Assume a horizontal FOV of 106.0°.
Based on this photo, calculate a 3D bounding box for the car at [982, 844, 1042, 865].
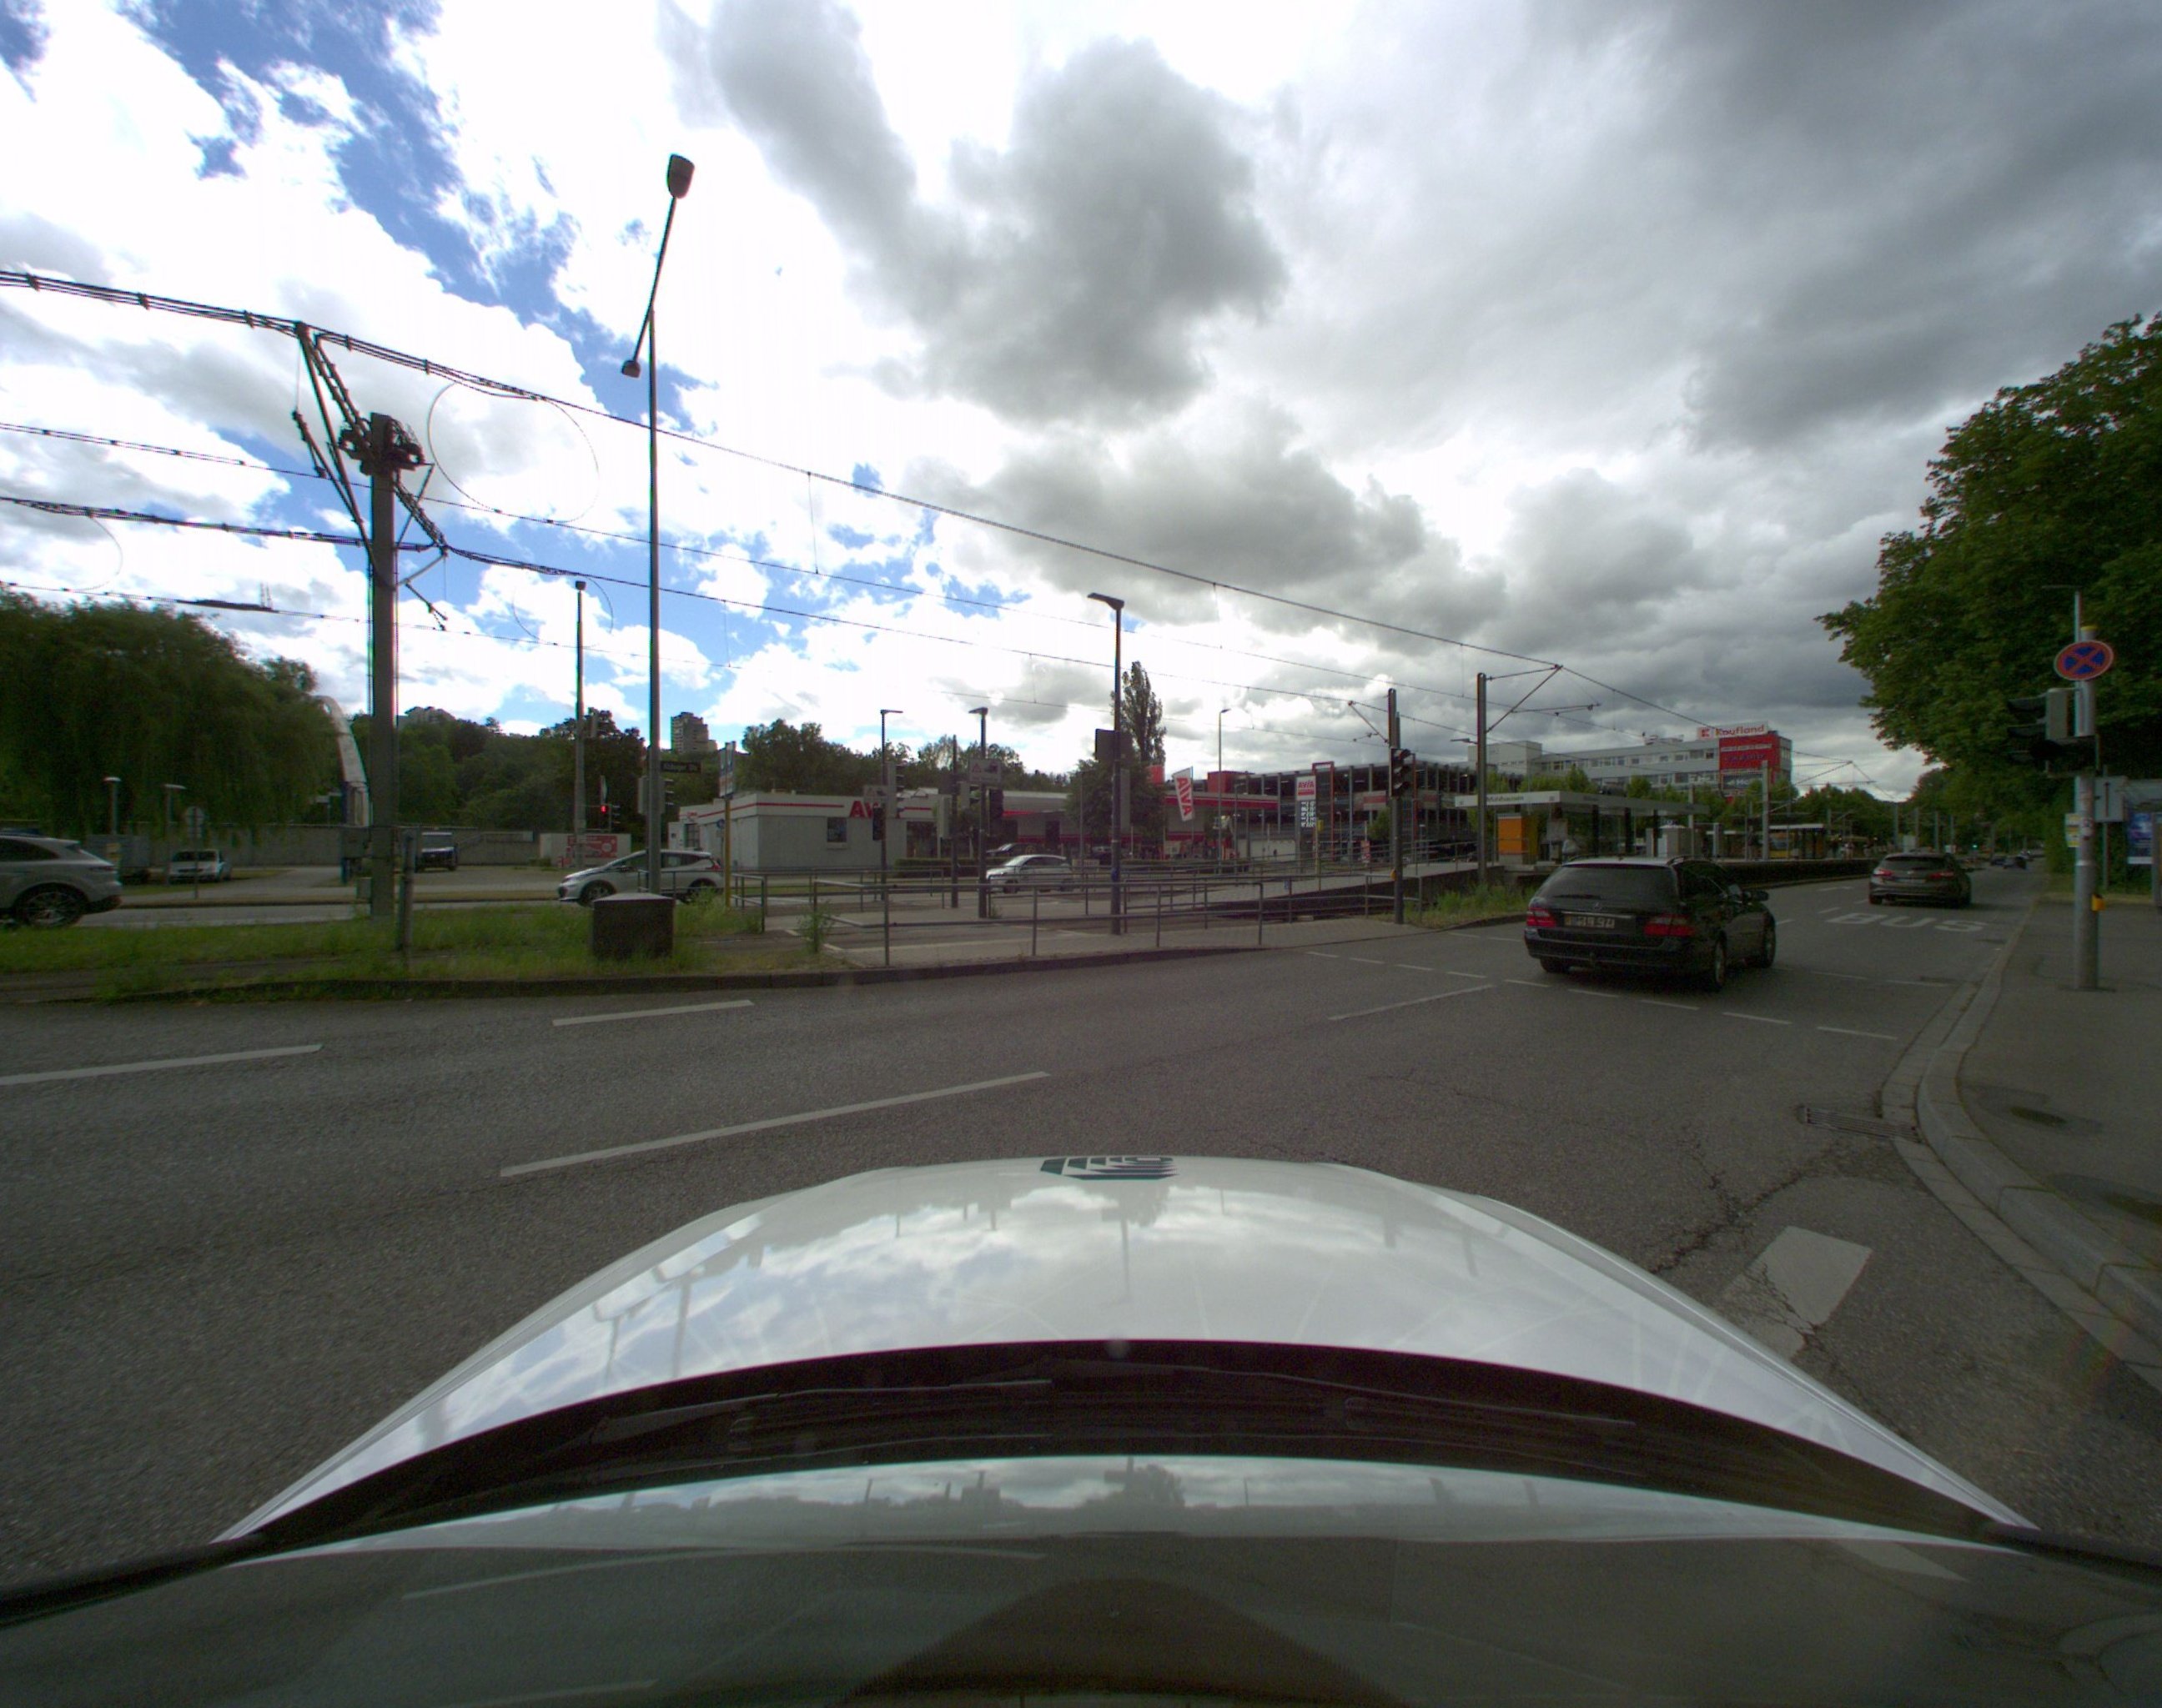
[{"bbox_3d":[-4.565,0.030,53.736,3.652,1.350,1.600,0,0,-37],"label":"car"}]

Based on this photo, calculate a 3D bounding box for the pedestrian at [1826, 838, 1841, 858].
[{"bbox_3d":[61.890,-0.484,66.936,0.794,1.678,0.765,1,-2,-39],"label":"pedestrian"}]

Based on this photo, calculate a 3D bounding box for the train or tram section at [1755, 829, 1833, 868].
[{"bbox_3d":[76.821,-0.657,87.469,18.719,3.882,2.734,-1,0,-38],"label":"train or tram section"}]

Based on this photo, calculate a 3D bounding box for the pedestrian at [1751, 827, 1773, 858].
[{"bbox_3d":[38.560,-0.648,46.128,0.941,1.744,0.742,1,-2,-39],"label":"pedestrian"}]

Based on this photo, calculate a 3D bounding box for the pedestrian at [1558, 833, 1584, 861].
[{"bbox_3d":[21.662,-0.299,36.013,0.731,1.189,0.763,1,0,-35],"label":"pedestrian"}]

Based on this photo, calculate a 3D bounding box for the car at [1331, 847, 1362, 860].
[{"bbox_3d":[30.572,-0.060,93.884,3.577,1.415,1.702,1,-2,-38],"label":"car"}]

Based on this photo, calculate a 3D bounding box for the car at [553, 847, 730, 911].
[{"bbox_3d":[-12.281,0.650,22.871,4.144,1.641,1.730,0,0,-39],"label":"car"}]

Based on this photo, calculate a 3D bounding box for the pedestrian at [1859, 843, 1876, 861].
[{"bbox_3d":[71.362,-0.175,73.893,0.869,1.678,0.746,0,-1,5],"label":"pedestrian"}]

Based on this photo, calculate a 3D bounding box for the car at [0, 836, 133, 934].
[{"bbox_3d":[-19.242,0.512,13.115,1.656,1.642,4.882,0,0,24],"label":"car"}]

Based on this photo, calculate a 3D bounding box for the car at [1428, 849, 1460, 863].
[{"bbox_3d":[43.094,0.255,96.580,4.019,1.539,1.762,0,-1,-39],"label":"car"}]

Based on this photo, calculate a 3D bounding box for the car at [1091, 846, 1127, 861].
[{"bbox_3d":[3.316,-0.022,97.065,4.079,1.752,1.893,1,-2,-40],"label":"car"}]

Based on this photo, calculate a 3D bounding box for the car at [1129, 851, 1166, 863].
[{"bbox_3d":[7.677,0.346,93.649,4.079,1.365,1.893,1,-2,-40],"label":"car"}]

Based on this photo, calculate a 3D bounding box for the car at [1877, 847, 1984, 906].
[{"bbox_3d":[24.701,0.592,23.639,4.438,1.530,1.810,0,1,-39],"label":"car"}]

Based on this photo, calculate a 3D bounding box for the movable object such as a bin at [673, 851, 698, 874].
[{"bbox_3d":[-25.745,0.577,53.047,1.377,1.484,1.093,1,-2,-32],"label":"movable object such as a bin"}]

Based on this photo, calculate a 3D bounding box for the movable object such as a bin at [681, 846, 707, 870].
[{"bbox_3d":[-24.513,0.283,51.595,1.377,1.494,1.093,1,-2,-32],"label":"movable object such as a bin"}]

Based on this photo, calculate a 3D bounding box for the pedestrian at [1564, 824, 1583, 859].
[{"bbox_3d":[22.956,-0.570,37.957,0.589,1.620,0.565,1,-2,-38],"label":"pedestrian"}]

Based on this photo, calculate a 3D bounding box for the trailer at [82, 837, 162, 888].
[{"bbox_3d":[-45.216,0.413,38.498,1.568,2.258,4.341,1,-2,-38],"label":"trailer"}]

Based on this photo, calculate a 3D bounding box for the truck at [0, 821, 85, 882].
[{"bbox_3d":[-46.335,-0.108,35.446,2.397,2.494,5.761,1,0,-36],"label":"truck"}]

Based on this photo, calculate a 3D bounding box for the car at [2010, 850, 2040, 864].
[{"bbox_3d":[102.189,0.341,88.155,4.436,1.530,1.811,0,0,-37],"label":"car"}]

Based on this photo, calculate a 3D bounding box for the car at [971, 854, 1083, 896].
[{"bbox_3d":[-1.971,0.748,30.081,3.845,1.454,1.615,0,0,-35],"label":"car"}]

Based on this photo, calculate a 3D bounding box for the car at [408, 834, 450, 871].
[{"bbox_3d":[-38.321,-0.023,47.903,1.855,2.052,4.331,1,-2,-38],"label":"car"}]

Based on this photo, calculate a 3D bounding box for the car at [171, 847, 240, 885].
[{"bbox_3d":[-42.301,0.545,39.413,1.764,1.743,3.812,0,0,-39],"label":"car"}]

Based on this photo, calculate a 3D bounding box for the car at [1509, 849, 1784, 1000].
[{"bbox_3d":[7.257,0.689,10.264,4.439,1.478,1.817,-1,1,-41],"label":"car"}]

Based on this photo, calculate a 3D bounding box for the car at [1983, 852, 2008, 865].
[{"bbox_3d":[117.935,0.566,105.011,3.945,1.530,1.810,0,-2,-37],"label":"car"}]
